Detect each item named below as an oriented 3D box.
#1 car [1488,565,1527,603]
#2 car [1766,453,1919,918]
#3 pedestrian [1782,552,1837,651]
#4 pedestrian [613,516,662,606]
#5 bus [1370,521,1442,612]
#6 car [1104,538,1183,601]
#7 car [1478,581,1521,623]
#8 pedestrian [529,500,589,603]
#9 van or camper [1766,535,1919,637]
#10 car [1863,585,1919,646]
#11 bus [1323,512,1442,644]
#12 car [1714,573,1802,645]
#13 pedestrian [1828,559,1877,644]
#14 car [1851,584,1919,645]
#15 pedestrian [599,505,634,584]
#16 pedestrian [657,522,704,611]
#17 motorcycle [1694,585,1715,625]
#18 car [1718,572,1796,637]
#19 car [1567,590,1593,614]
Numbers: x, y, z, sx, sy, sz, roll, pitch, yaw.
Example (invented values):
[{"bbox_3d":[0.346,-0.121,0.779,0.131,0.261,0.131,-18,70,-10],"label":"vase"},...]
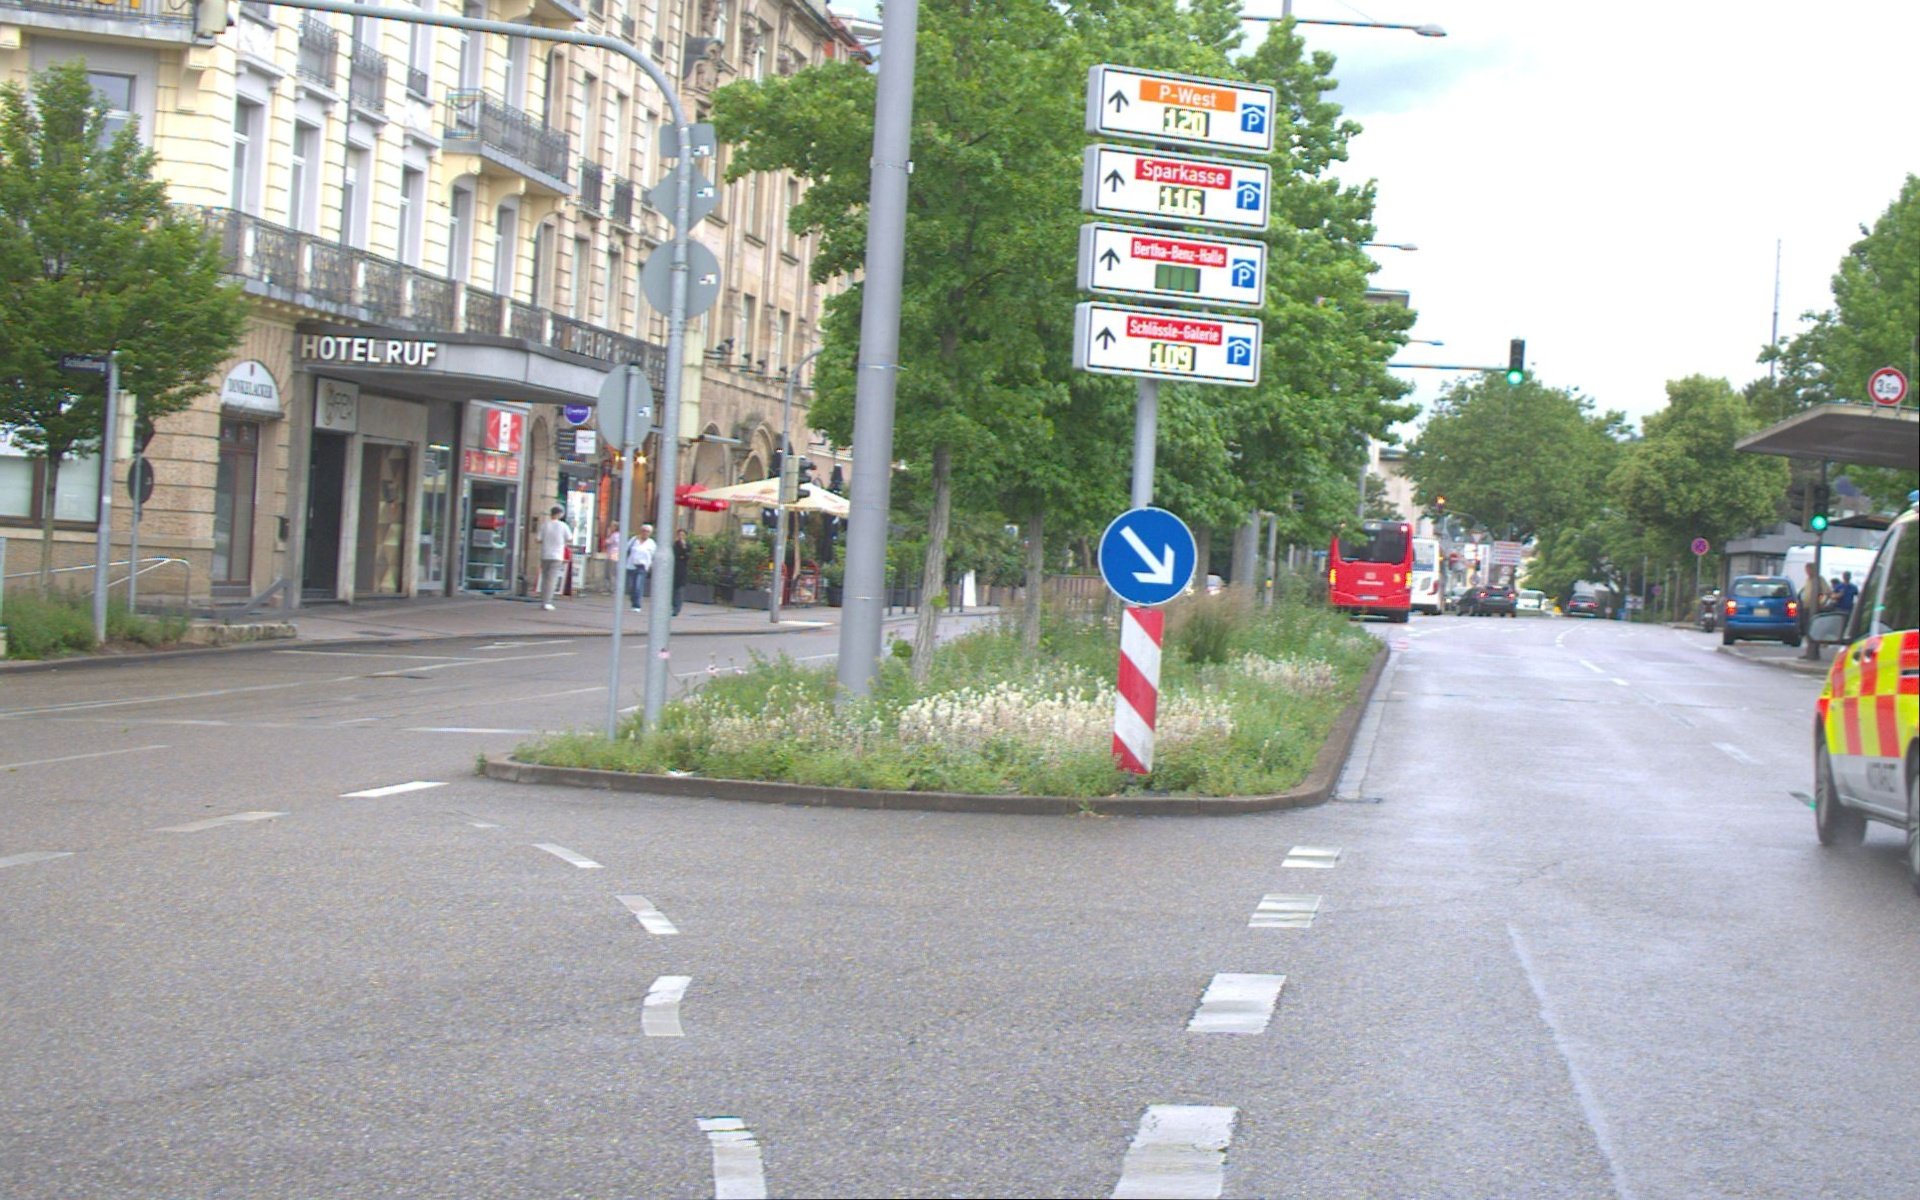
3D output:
[{"bbox_3d":[29.016,-0.842,182.355,1.994,2.007,3.999,1,0,8],"label":"car"},{"bbox_3d":[5.384,0.375,17.243,1.994,2.007,5.060,1,0,6],"label":"car"},{"bbox_3d":[15.261,0.031,61.781,0.746,1.741,0.836,2,0,0],"label":"pedestrian"},{"bbox_3d":[-6.026,-0.720,64.254,0.682,1.658,0.806,1,0,11],"label":"pedestrian"},{"bbox_3d":[19.242,-1.414,148.646,2.806,3.734,10.442,2,0,7],"label":"bus"},{"bbox_3d":[6.030,-0.988,112.540,1.994,2.007,4.999,1,0,10],"label":"car"},{"bbox_3d":[26.259,0.080,167.299,1.994,2.007,3.999,1,0,8],"label":"car"},{"bbox_3d":[-7.107,-0.851,60.951,0.879,1.806,0.750,1,0,8],"label":"pedestrian"},{"bbox_3d":[25.733,-0.367,96.099,5.945,2.753,2.199,1,0,-18],"label":"van or camper"},{"bbox_3d":[22.332,0.403,75.926,4.184,1.321,1.841,2,0,-11],"label":"car"},{"bbox_3d":[13.636,-0.693,110.526,3.546,3.966,11.168,1,0,8],"label":"bus"},{"bbox_3d":[18.459,0.221,79.669,1.859,1.564,3.998,2,0,12],"label":"car"},{"bbox_3d":[19.577,0.044,75.407,0.857,1.829,1.189,2,0,8],"label":"pedestrian"},{"bbox_3d":[22.874,0.391,79.551,3.986,1.354,1.865,2,0,-22],"label":"car"},{"bbox_3d":[-7.261,-1.164,72.701,0.666,1.658,0.536,1,0,0],"label":"pedestrian"},{"bbox_3d":[-5.210,-0.624,64.193,0.682,1.658,0.807,1,0,9],"label":"pedestrian"},{"bbox_3d":[24.561,0.149,113.355,0.595,1.284,1.952,2,1,14],"label":"motorcycle"},{"bbox_3d":[19.819,0.124,85.486,1.789,1.517,3.679,2,0,13],"label":"car"},{"bbox_3d":[41.394,0.146,229.460,1.595,1.555,3.649,1,0,8],"label":"car"}]
